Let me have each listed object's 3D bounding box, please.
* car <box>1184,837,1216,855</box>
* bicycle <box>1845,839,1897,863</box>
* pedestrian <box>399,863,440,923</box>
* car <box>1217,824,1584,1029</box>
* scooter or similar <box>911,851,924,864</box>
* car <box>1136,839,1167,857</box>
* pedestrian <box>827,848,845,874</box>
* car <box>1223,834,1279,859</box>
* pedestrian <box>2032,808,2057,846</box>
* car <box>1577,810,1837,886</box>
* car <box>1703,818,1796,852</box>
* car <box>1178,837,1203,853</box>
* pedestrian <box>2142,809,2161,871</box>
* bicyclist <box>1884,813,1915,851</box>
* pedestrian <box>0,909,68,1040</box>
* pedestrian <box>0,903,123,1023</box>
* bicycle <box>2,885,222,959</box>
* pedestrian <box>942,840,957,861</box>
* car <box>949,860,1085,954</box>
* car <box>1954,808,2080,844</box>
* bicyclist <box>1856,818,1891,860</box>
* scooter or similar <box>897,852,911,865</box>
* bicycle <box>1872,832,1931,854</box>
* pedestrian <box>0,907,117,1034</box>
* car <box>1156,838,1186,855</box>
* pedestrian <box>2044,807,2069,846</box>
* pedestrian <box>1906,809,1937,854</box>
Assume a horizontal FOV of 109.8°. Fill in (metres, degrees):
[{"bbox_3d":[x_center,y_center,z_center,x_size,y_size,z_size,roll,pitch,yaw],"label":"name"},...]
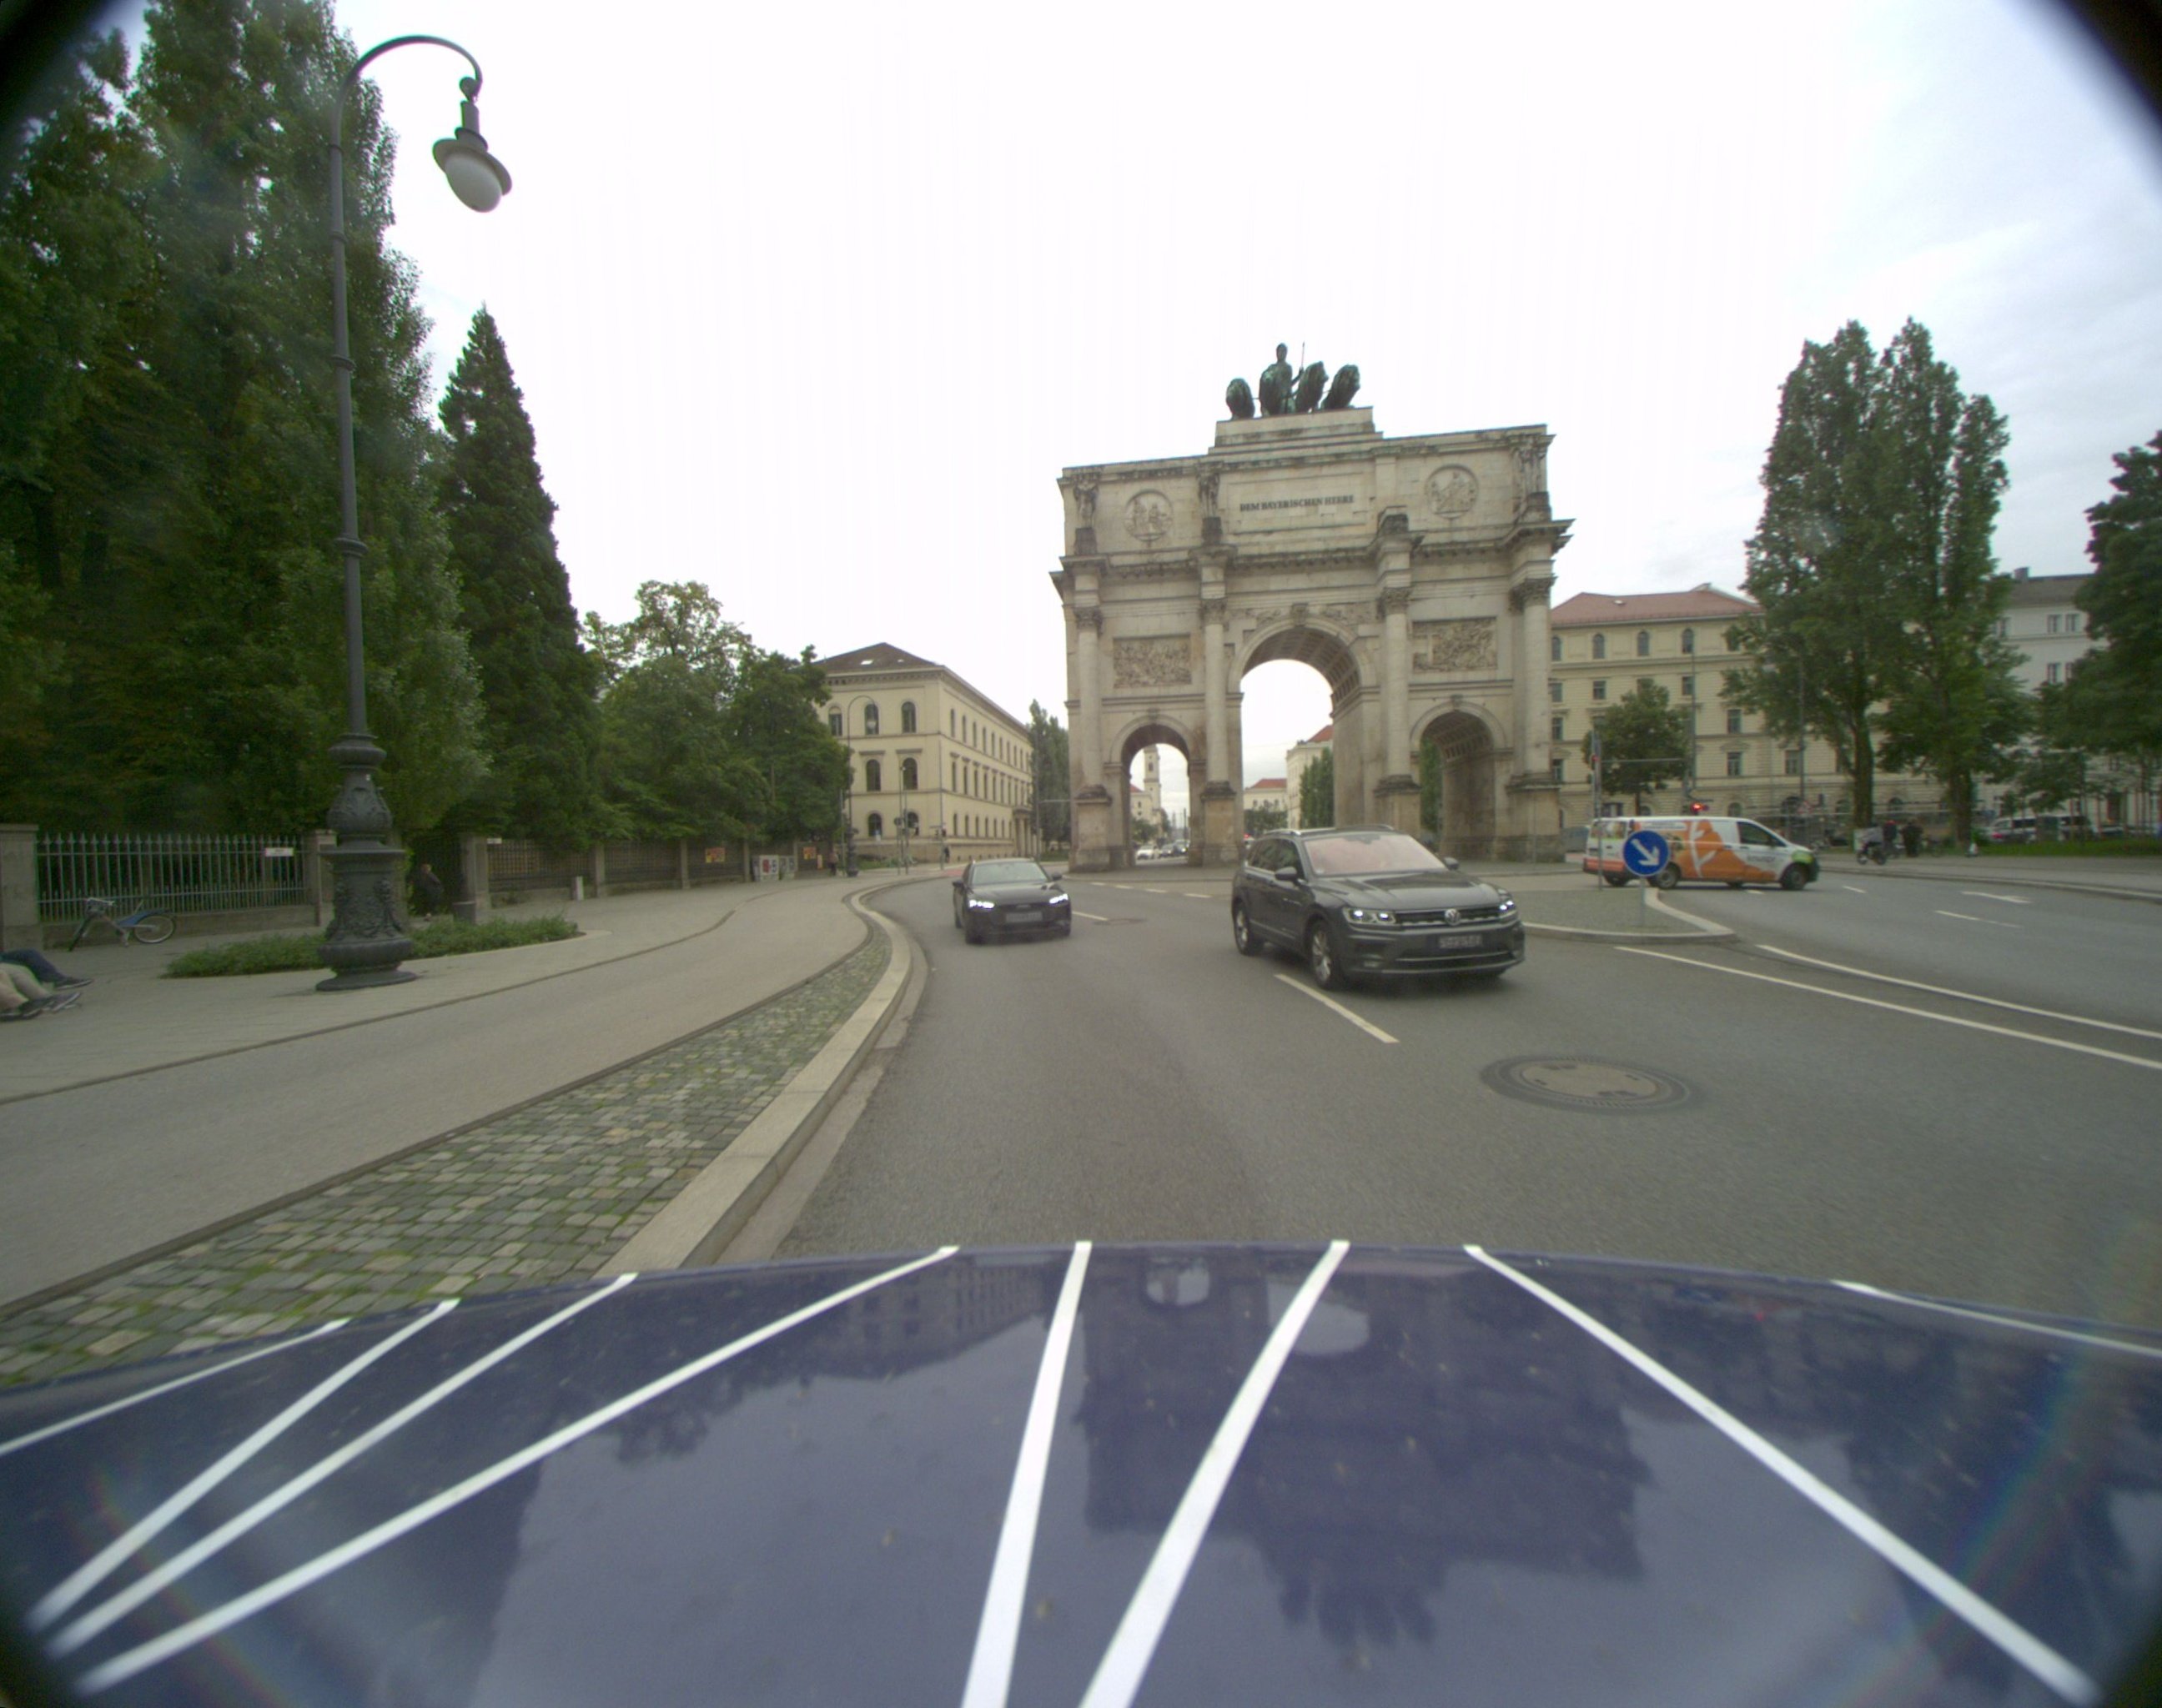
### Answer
[{"bbox_3d":[12.506,-0.872,79.581,1.784,1.740,4.328,-1,1,30],"label":"car"},{"bbox_3d":[33.155,-0.139,31.914,0.642,0.968,1.763,-1,1,13],"label":"bicycle"},{"bbox_3d":[-18.605,1.093,21.378,0.590,1.611,0.537,-2,2,8],"label":"pedestrian"},{"bbox_3d":[3.137,0.572,8.652,1.954,1.615,4.408,-4,1,-5],"label":"car"},{"bbox_3d":[-14.516,0.325,67.515,0.567,1.135,1.657,-1,1,9],"label":"scooter or similar"},{"bbox_3d":[7.217,-0.628,77.288,1.784,1.740,4.327,-1,1,24],"label":"car"},{"bbox_3d":[-15.281,0.459,47.476,0.738,1.589,0.818,-1,1,9],"label":"pedestrian"},{"bbox_3d":[14.065,-0.621,63.106,4.308,1.846,1.891,-2,1,5],"label":"car"},{"bbox_3d":[50.442,-1.403,39.783,0.533,2.002,0.594,-2,2,-3],"label":"pedestrian"},{"bbox_3d":[16.114,-0.182,19.798,4.985,1.844,2.005,0,2,3],"label":"car"},{"bbox_3d":[42.325,-1.188,48.165,3.994,2.002,2.001,-1,1,7],"label":"car"},{"bbox_3d":[12.805,-1.037,88.578,1.784,1.740,4.326,-1,1,22],"label":"car"},{"bbox_3d":[31.598,-0.419,21.931,0.752,1.776,0.916,-1,2,23],"label":"pedestrian"},{"bbox_3d":[37.046,-0.986,34.395,0.645,1.700,0.858,-2,2,-35],"label":"bicyclist"},{"bbox_3d":[-10.996,1.197,7.212,1.371,1.200,0.807,-3,2,-21],"label":"pedestrian"},{"bbox_3d":[-11.580,1.201,8.403,1.004,1.206,0.565,-3,2,-23],"label":"pedestrian"},{"bbox_3d":[-20.109,1.357,15.937,0.674,1.232,2.999,0,1,2],"label":"bicycle"},{"bbox_3d":[-12.684,-0.364,73.152,1.005,2.002,0.942,-3,2,-37],"label":"pedestrian"},{"bbox_3d":[-1.406,0.880,14.680,1.924,1.320,4.406,-4,1,-13],"label":"car"},{"bbox_3d":[55.823,-1.642,45.419,4.508,2.002,2.001,-1,1,11],"label":"car"},{"bbox_3d":[33.095,-0.620,31.729,0.642,1.700,0.861,-1,1,12],"label":"bicyclist"},{"bbox_3d":[-15.643,0.375,67.217,0.567,1.135,1.657,-1,1,9],"label":"scooter or similar"},{"bbox_3d":[37.085,-0.494,34.355,0.645,0.968,1.757,-2,1,-35],"label":"bicycle"},{"bbox_3d":[-11.208,1.224,7.912,1.268,1.209,0.574,-3,2,-22],"label":"pedestrian"},{"bbox_3d":[9.754,-0.815,82.163,1.784,1.740,4.327,-1,1,26],"label":"car"},{"bbox_3d":[51.028,-1.425,39.740,0.533,2.002,0.594,-2,2,-3],"label":"pedestrian"},{"bbox_3d":[38.044,-1.013,34.405,0.795,2.002,0.754,-2,2,-27],"label":"pedestrian"}]
